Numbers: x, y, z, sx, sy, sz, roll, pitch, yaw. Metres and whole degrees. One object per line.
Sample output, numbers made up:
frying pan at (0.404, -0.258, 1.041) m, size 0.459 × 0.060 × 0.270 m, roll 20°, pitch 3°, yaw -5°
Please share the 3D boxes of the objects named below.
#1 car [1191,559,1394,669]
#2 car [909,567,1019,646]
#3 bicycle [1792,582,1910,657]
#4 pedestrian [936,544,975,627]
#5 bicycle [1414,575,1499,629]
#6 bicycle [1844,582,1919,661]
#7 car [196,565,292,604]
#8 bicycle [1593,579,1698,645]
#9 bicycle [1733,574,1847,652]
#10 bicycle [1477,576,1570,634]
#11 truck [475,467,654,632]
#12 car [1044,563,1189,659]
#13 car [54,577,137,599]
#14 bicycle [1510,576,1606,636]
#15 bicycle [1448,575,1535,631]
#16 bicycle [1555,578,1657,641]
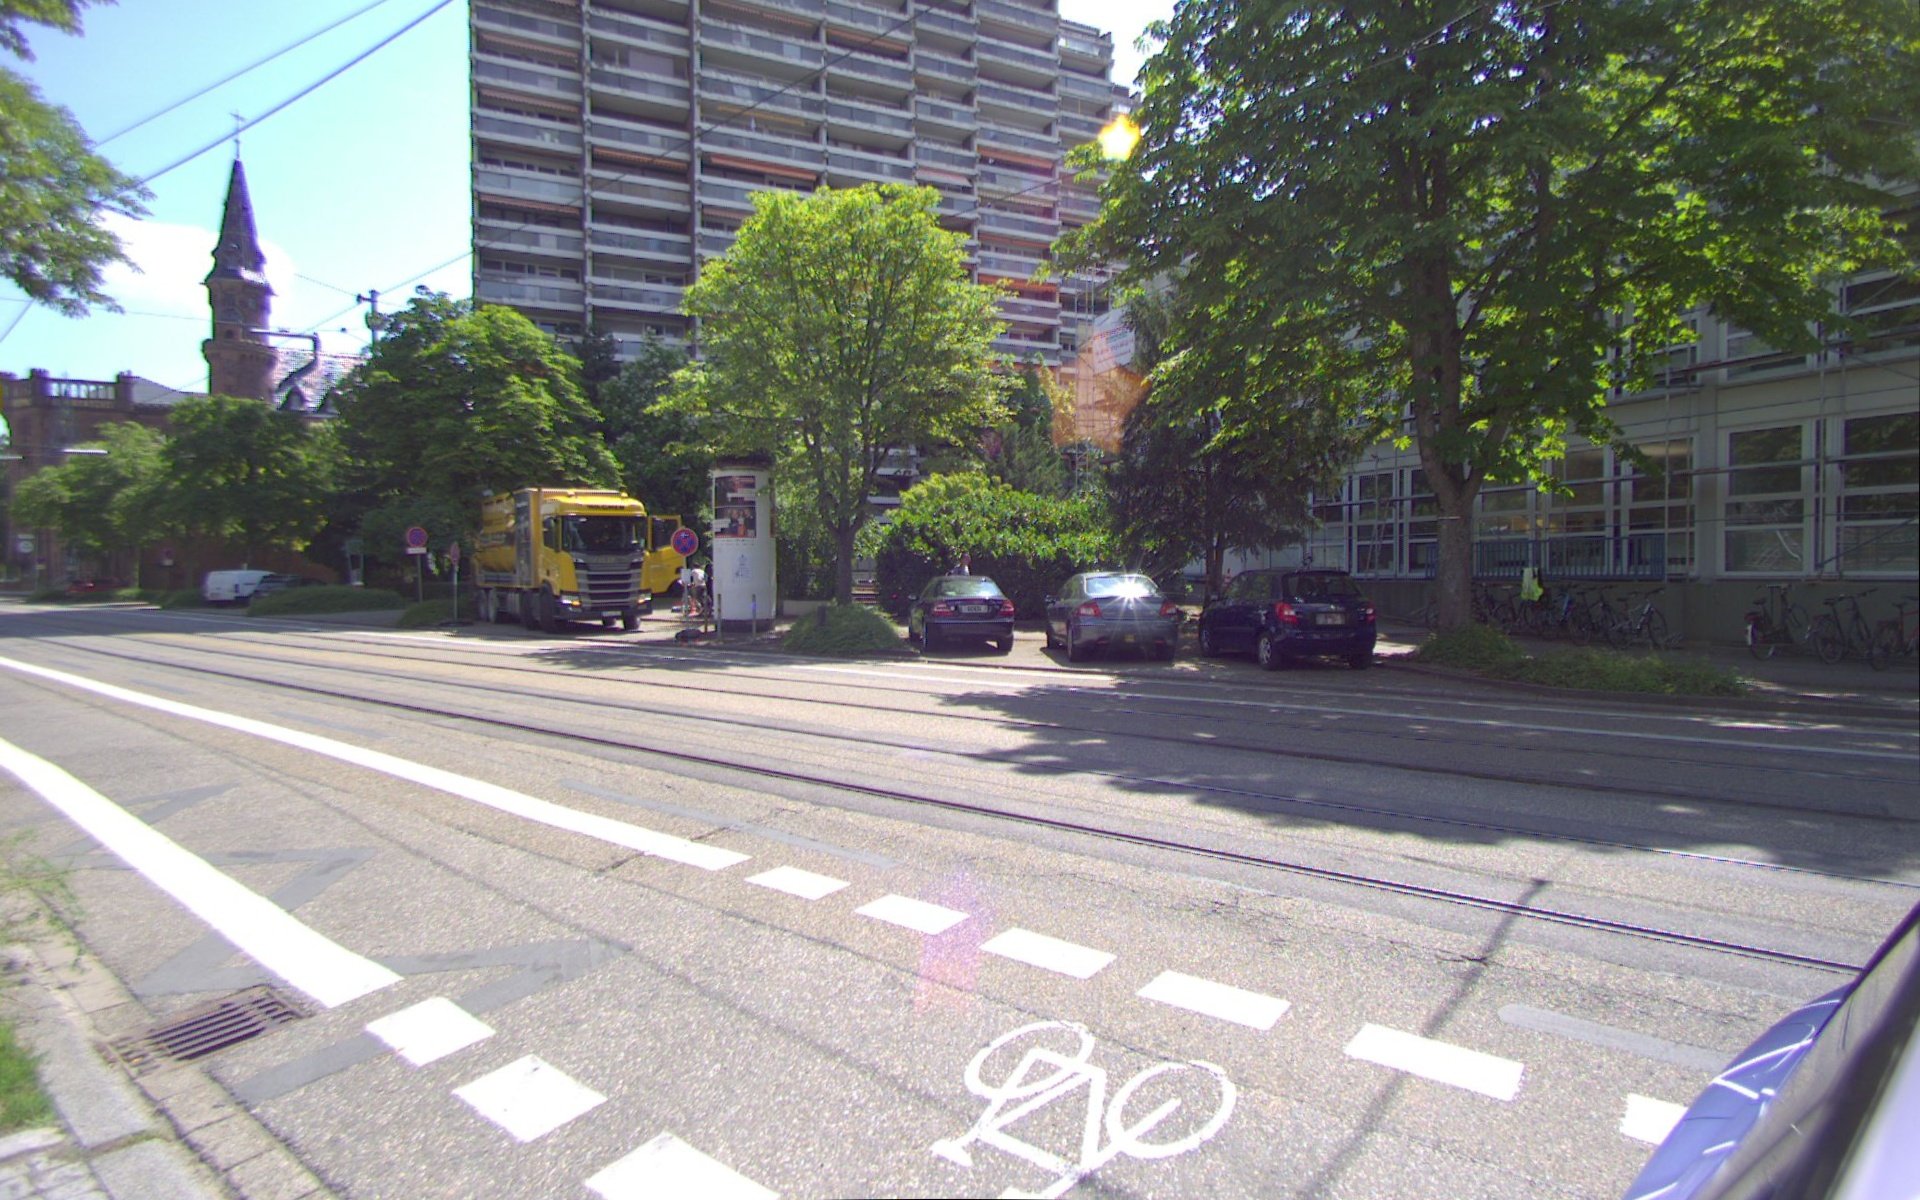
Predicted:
car at (5.074, 0.157, 15.943) m, size 1.616 × 1.535 × 3.581 m, roll 0°, pitch 1°, yaw -8°
car at (-0.018, 0.077, 20.023) m, size 1.597 × 1.390 × 4.029 m, roll 0°, pitch 1°, yaw -8°
bicycle at (14.205, 0.286, 16.127) m, size 1.903 × 1.144 × 0.570 m, roll 0°, pitch 1°, yaw -20°
pedestrian at (-0.096, -0.337, 23.425) m, size 0.702 × 1.898 × 0.577 m, roll 0°, pitch 1°, yaw -38°
bicycle at (10.845, 0.032, 22.085) m, size 1.887 × 1.144 × 0.570 m, roll 0°, pitch 1°, yaw -23°
bicycle at (14.345, 0.299, 15.243) m, size 2.188 × 1.144 × 0.570 m, roll 0°, pitch 1°, yaw -20°
car at (-34.719, -0.771, 49.179) m, size 1.801 × 1.816 × 3.999 m, roll 0°, pitch 1°, yaw 1°
bicycle at (12.407, 0.195, 18.319) m, size 1.903 × 1.144 × 0.570 m, roll 0°, pitch 1°, yaw -20°
bicycle at (13.756, 0.196, 16.773) m, size 1.903 × 1.253 × 0.570 m, roll 0°, pitch 1°, yaw -20°
bicycle at (11.517, 0.088, 20.689) m, size 1.887 × 1.144 × 0.570 m, roll 0°, pitch 1°, yaw -20°
truck at (-11.880, -1.363, 29.690) m, size 2.699 × 4.055 × 9.746 m, roll -1°, pitch 2°, yaw -34°
car at (2.600, 0.141, 17.762) m, size 1.784 × 1.481 × 4.025 m, roll 0°, pitch 1°, yaw -2°
car at (-59.575, -0.835, 69.813) m, size 1.973 × 1.504 × 3.979 m, roll 0°, pitch 1°, yaw 17°
bicycle at (11.822, 0.107, 20.002) m, size 1.903 × 1.144 × 0.570 m, roll 0°, pitch 1°, yaw -20°
bicycle at (11.253, 0.042, 21.416) m, size 1.887 × 1.144 × 0.570 m, roll 0°, pitch 1°, yaw -23°
bicycle at (12.185, 0.158, 19.082) m, size 1.903 × 1.144 × 0.570 m, roll 0°, pitch 1°, yaw -20°
